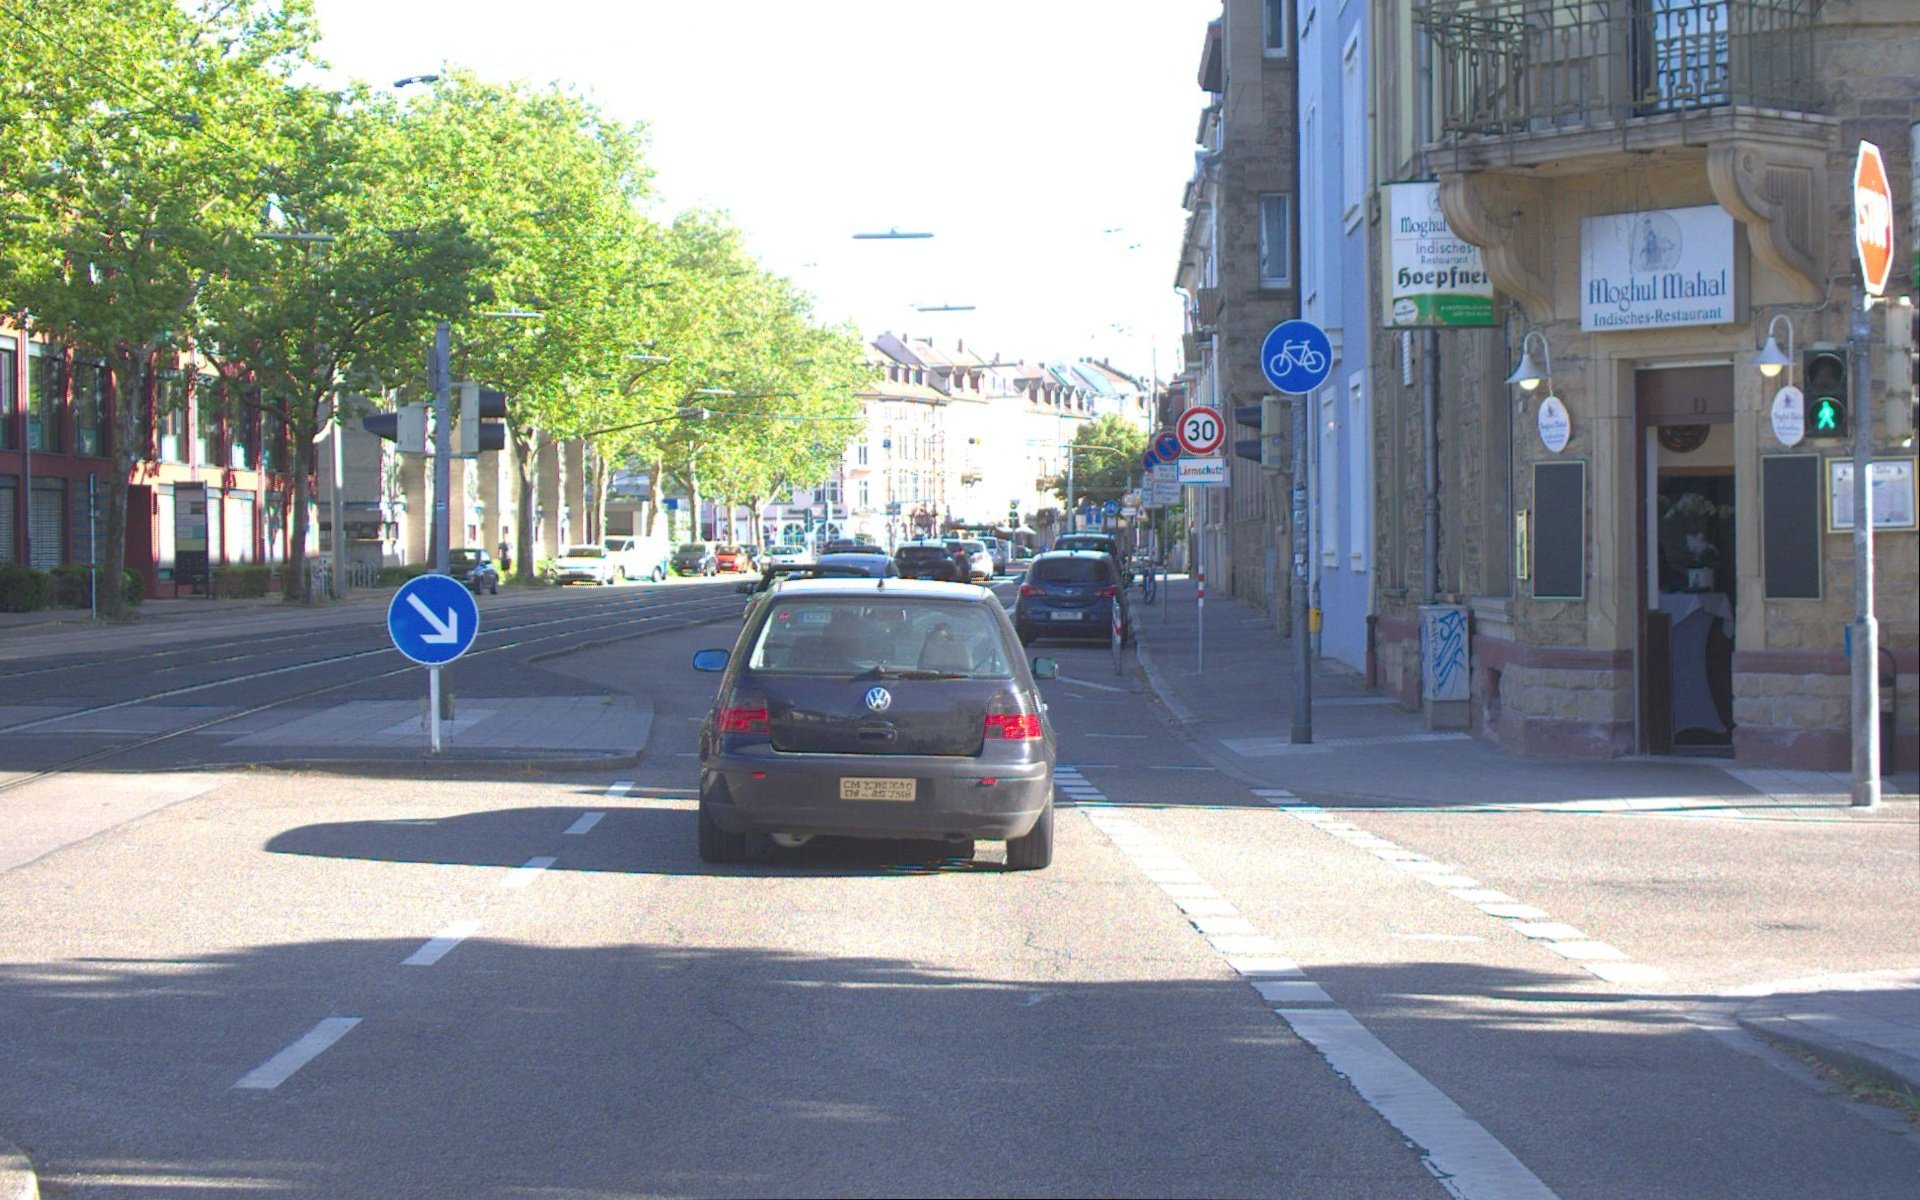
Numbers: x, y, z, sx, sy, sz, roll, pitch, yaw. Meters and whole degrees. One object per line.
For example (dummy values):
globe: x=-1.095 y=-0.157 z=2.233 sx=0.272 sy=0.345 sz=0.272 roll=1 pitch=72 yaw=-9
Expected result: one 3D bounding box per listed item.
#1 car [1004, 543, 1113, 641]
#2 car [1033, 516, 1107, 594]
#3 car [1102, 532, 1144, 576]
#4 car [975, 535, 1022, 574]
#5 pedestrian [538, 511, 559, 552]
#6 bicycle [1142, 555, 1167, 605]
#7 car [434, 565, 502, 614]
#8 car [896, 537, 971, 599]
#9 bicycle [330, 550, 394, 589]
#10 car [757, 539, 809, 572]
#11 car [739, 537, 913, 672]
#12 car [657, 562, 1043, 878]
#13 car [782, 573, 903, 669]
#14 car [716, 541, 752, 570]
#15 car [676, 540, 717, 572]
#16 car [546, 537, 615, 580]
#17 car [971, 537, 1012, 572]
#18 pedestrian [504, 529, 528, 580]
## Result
car: x=1.572 y=-0.152 z=54.430 sx=1.655 sy=1.477 sz=4.000 roll=1 pitch=1 yaw=2
car: x=2.740 y=-1.130 z=85.107 sx=1.753 sy=1.849 sz=4.815 roll=1 pitch=1 yaw=3
car: x=7.041 y=-2.010 z=148.764 sx=1.759 sy=1.831 sz=3.547 roll=2 pitch=1 yaw=3
car: x=1.486 y=-1.761 z=131.487 sx=1.636 sy=1.467 sz=3.729 roll=0 pitch=1 yaw=3
pedestrian: x=-18.508 y=-3.081 z=154.710 sx=0.796 sy=1.814 sz=0.670 roll=2 pitch=1 yaw=3
bicycle: x=4.681 y=-0.495 z=82.886 sx=0.515 sy=1.136 sz=2.259 roll=-2 pitch=1 yaw=2
car: x=-15.620 y=-0.314 z=109.261 sx=1.507 sy=1.449 sz=3.463 roll=-1 pitch=-1 yaw=3
car: x=-0.640 y=-0.807 z=84.246 sx=1.636 sy=1.467 sz=3.729 roll=0 pitch=1 yaw=3
bicycle: x=-20.167 y=-1.022 z=115.919 sx=2.008 sy=1.274 sz=0.664 roll=1 pitch=1 yaw=3
car: x=-8.696 y=-2.197 z=169.393 sx=1.753 sy=1.513 sz=4.070 roll=-2 pitch=1 yaw=8
car: x=-1.585 y=0.024 z=41.938 sx=1.749 sy=1.532 sz=3.891 roll=0 pitch=1 yaw=3
car: x=-0.458 y=0.525 z=17.642 sx=1.748 sy=1.370 sz=4.000 roll=0 pitch=1 yaw=1
car: x=-1.994 y=0.333 z=59.505 sx=1.749 sy=1.532 sz=3.891 roll=0 pitch=1 yaw=3
car: x=-12.121 y=-2.369 z=184.567 sx=1.570 sy=1.528 sz=3.572 roll=0 pitch=0 yaw=3
car: x=-12.873 y=-2.139 z=167.790 sx=1.570 sy=1.528 sz=3.572 roll=0 pitch=0 yaw=3
car: x=-14.717 y=-1.632 z=133.478 sx=2.012 sy=1.567 sz=4.693 roll=2 pitch=1 yaw=1
car: x=1.365 y=-1.951 z=147.915 sx=1.636 sy=1.467 sz=3.729 roll=0 pitch=1 yaw=3
pedestrian: x=-16.317 y=-1.668 z=126.374 sx=0.784 sy=1.863 sz=0.671 roll=1 pitch=1 yaw=-12
